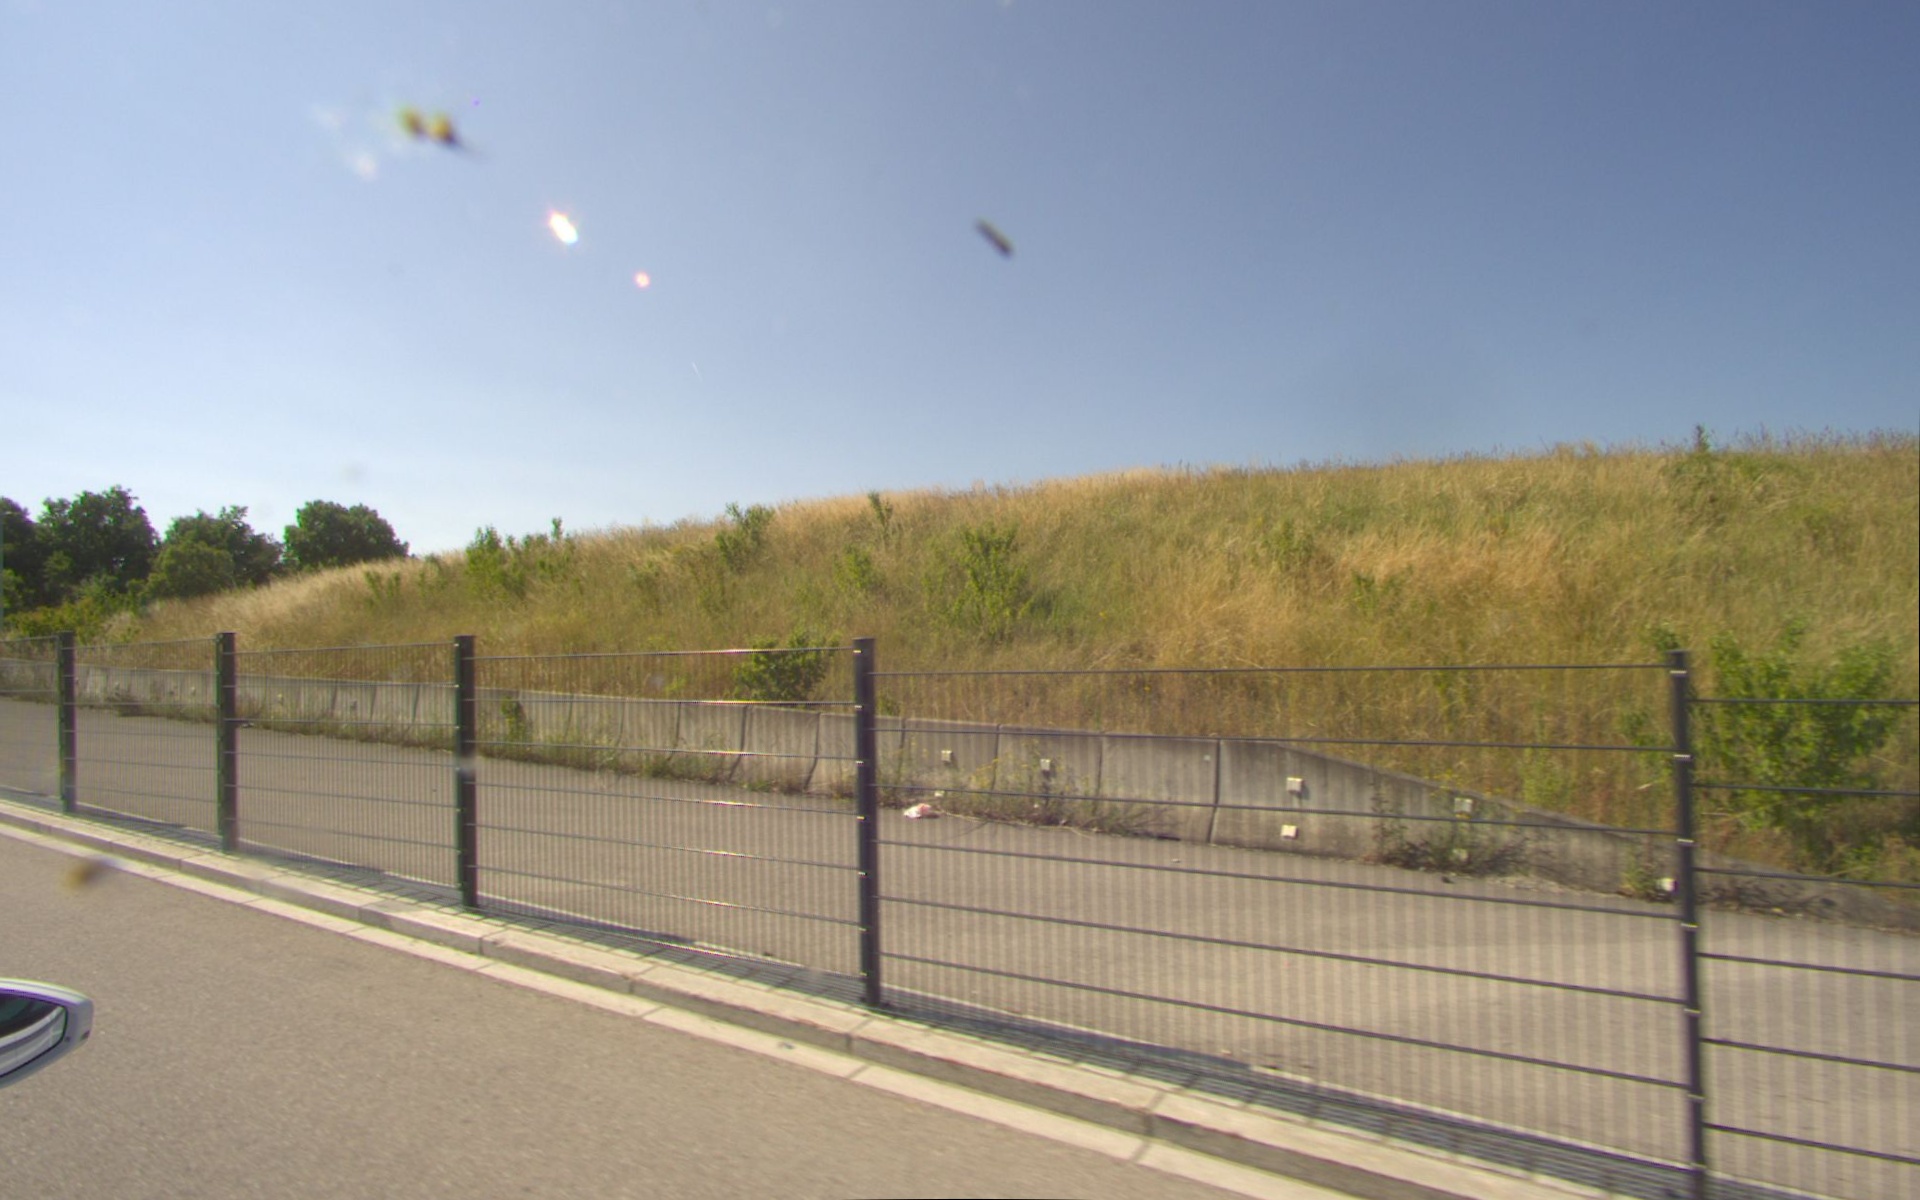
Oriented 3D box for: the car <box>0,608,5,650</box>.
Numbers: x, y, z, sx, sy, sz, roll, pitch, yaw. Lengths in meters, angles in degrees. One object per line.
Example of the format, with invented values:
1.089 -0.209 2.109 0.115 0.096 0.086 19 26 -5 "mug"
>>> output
-41.614 1.176 40.561 1.970 1.738 3.843 -1 -3 29 "car"
